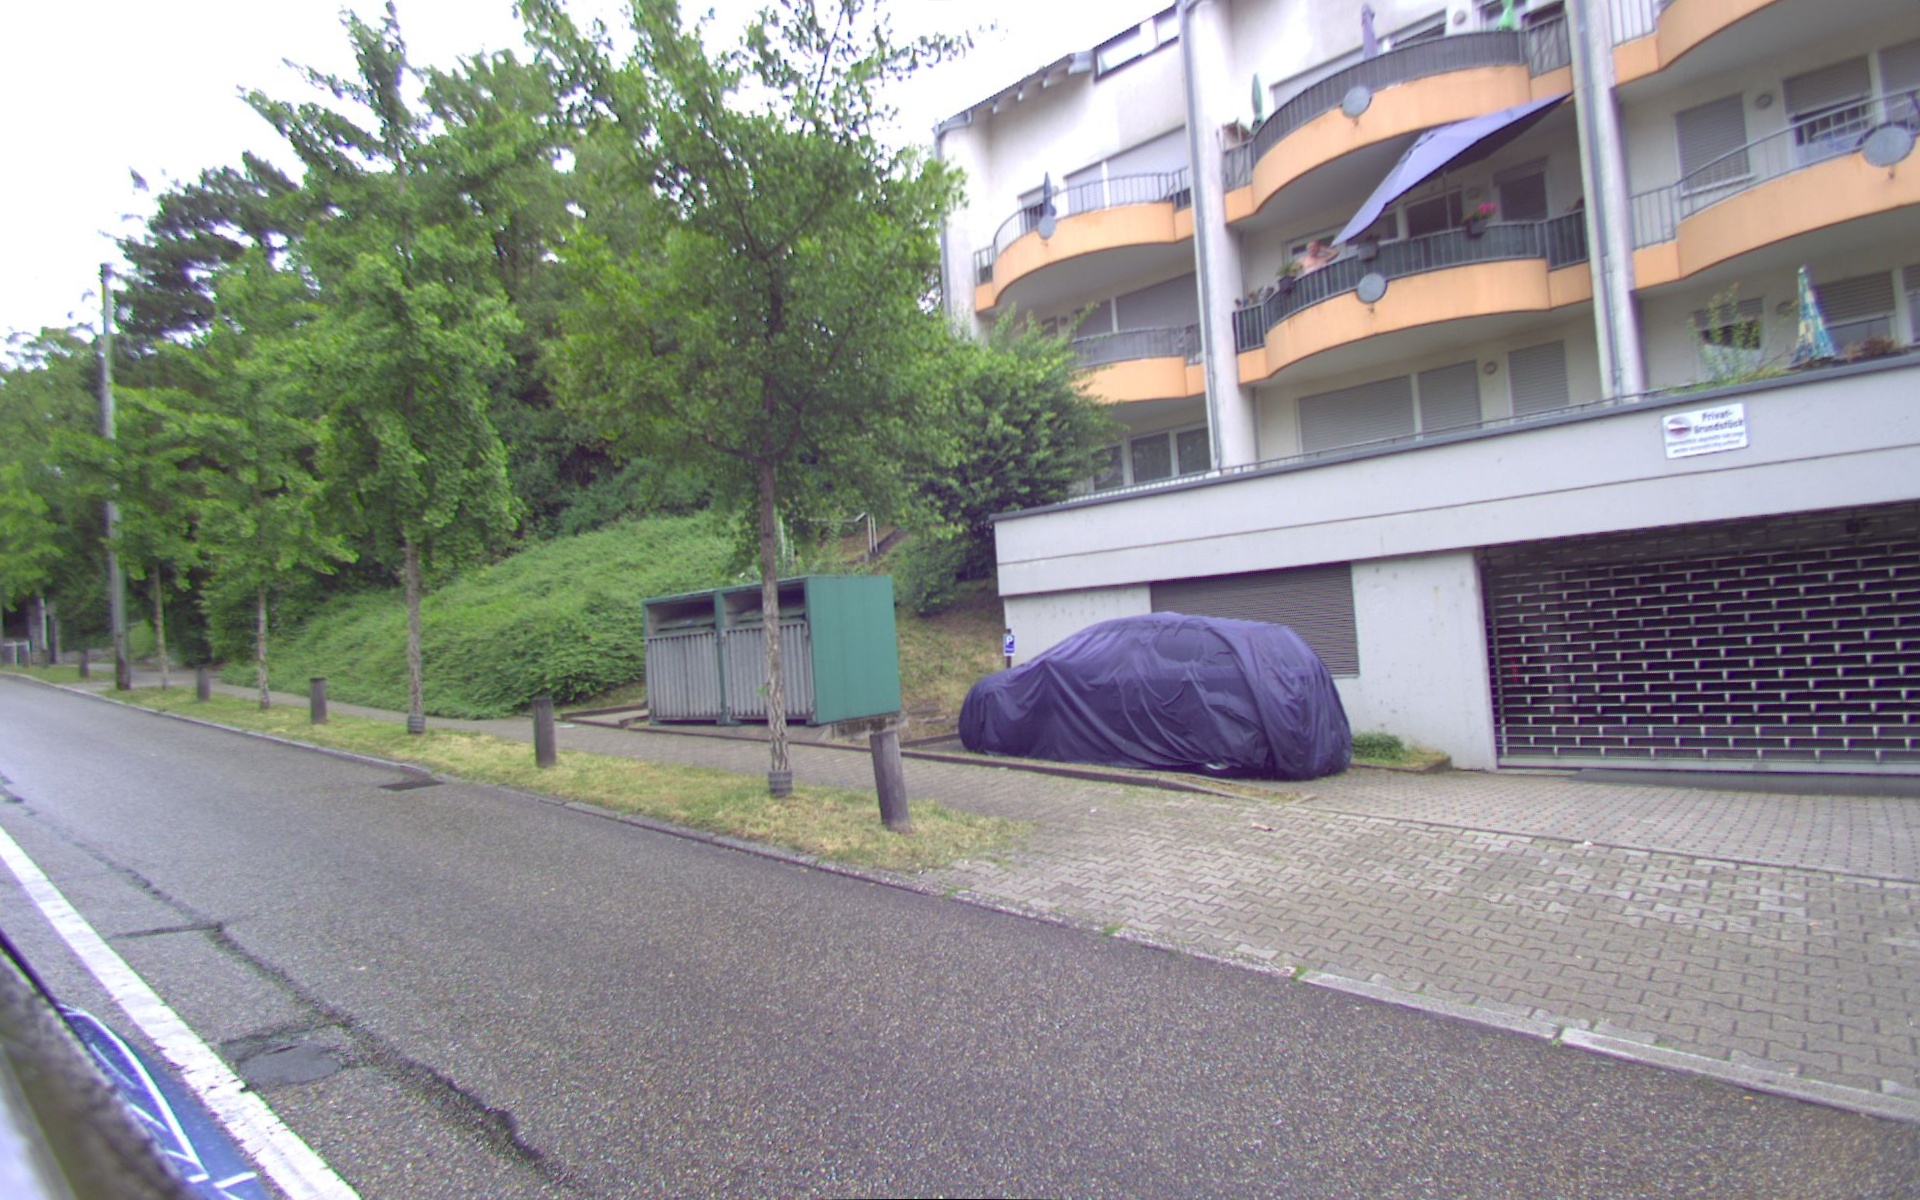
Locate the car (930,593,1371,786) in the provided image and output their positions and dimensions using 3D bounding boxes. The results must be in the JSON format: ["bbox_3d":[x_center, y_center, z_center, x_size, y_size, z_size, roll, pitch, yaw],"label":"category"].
[{"bbox_3d":[1.796,0.826,10.294,4.096,1.573,1.759,-2,-5,41],"label":"car"}]
